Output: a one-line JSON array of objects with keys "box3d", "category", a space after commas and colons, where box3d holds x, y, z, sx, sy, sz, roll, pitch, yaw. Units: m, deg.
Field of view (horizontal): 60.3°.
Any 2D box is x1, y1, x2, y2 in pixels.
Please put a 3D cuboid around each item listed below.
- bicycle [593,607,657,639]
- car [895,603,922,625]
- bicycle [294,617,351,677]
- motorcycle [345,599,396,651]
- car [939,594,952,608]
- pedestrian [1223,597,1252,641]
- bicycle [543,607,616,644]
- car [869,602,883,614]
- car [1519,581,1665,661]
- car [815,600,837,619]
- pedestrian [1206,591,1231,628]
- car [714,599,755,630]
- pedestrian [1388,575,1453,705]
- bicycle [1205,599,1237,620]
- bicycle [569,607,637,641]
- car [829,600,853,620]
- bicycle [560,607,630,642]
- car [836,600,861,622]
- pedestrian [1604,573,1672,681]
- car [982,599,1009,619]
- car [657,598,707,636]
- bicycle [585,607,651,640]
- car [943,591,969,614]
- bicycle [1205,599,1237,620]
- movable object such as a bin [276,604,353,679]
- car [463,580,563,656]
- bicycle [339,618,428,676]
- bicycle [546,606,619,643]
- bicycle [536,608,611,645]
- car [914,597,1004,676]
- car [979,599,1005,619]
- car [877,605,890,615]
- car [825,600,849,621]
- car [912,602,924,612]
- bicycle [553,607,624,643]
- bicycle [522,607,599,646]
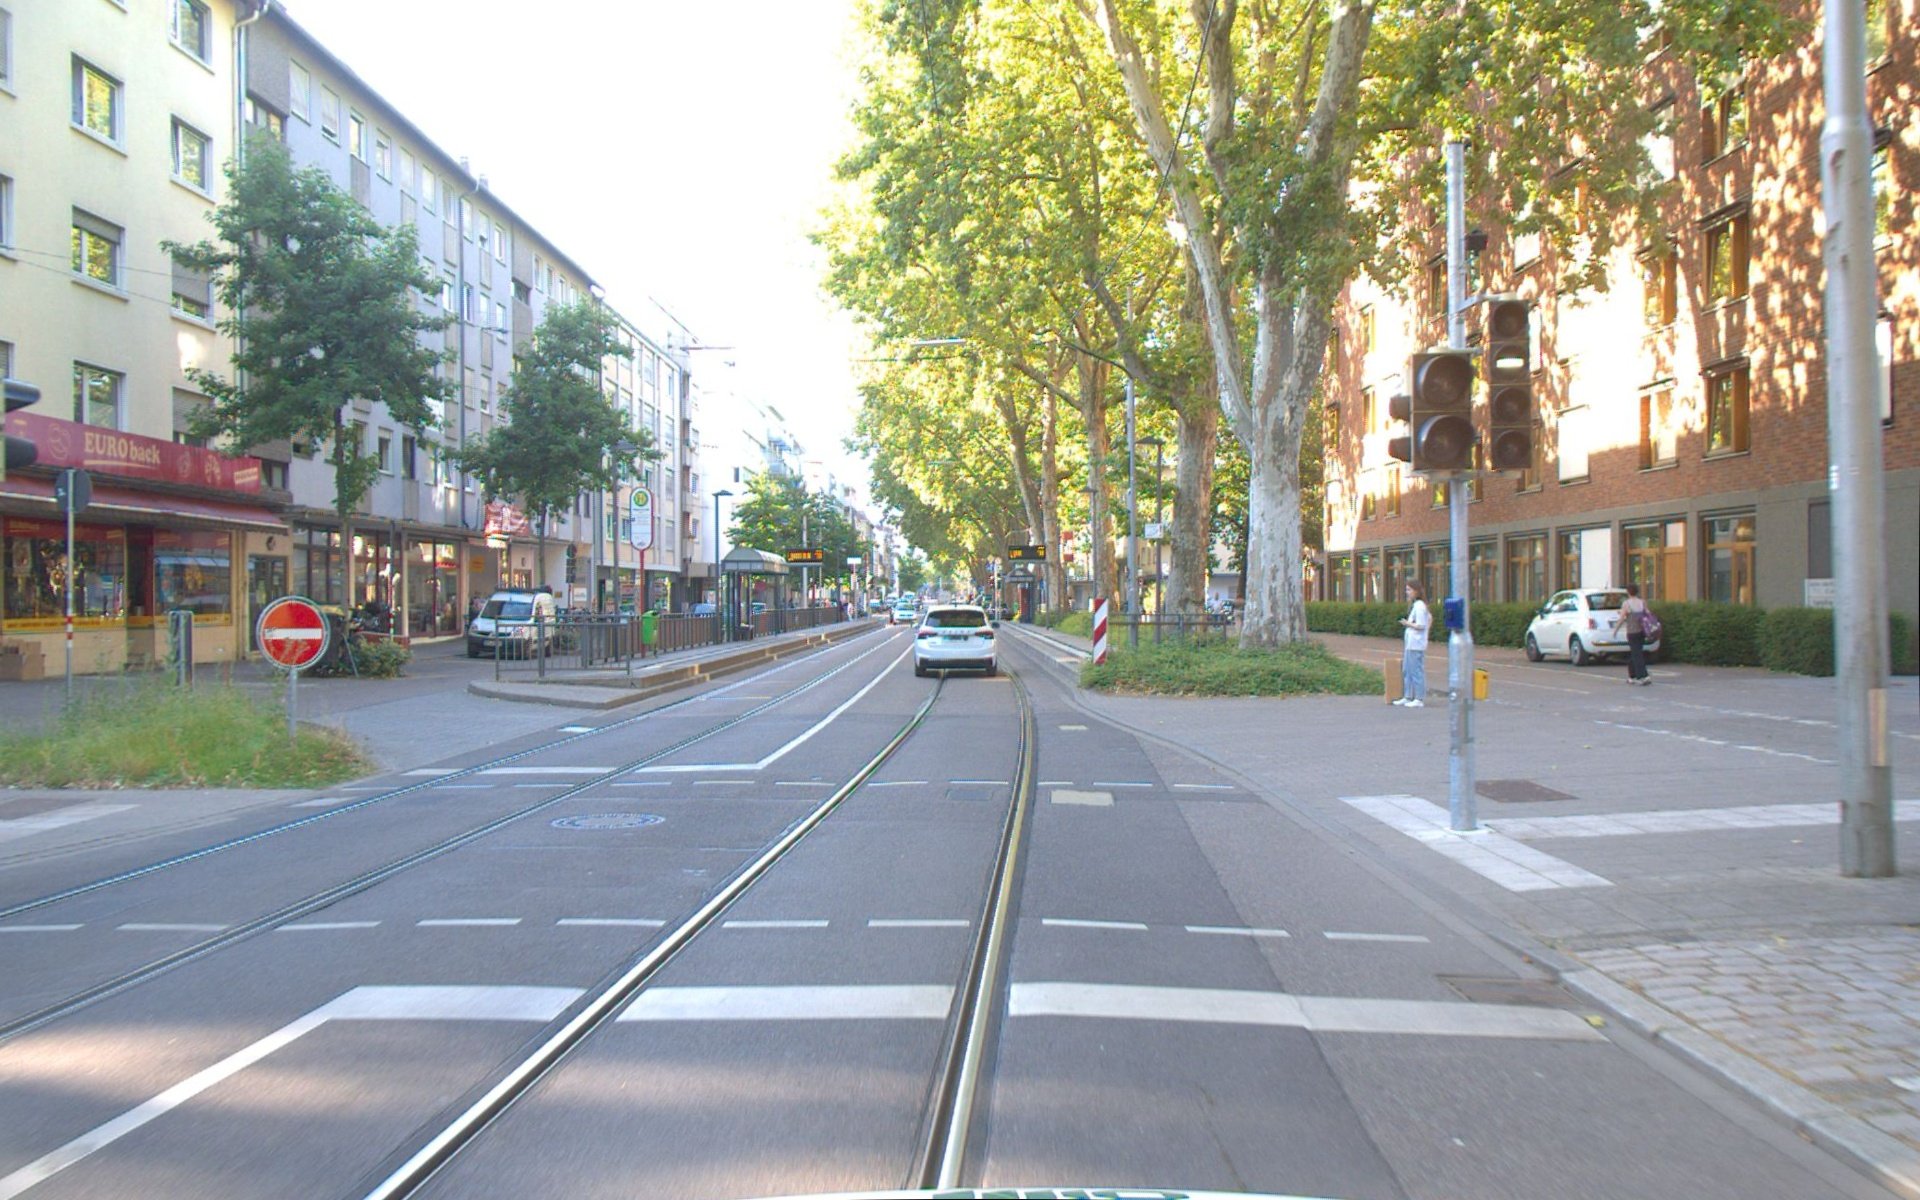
[{"box3d": [-12.514, 0.849, 61.877, 2.206, 1.093, 0.636, 3, 0, 1], "category": "bicycle"}, {"box3d": [-3.486, 0.919, 112.285, 1.659, 1.444, 4.000, -1, 0, 0], "category": "car"}, {"box3d": [-12.922, 0.937, 33.563, 0.488, 1.127, 1.799, 3, 0, -3], "category": "bicycle"}, {"box3d": [-15.776, 0.656, 44.312, 0.586, 1.334, 2.222, -1, 0, 0], "category": "motorcycle"}, {"box3d": [-2.064, 0.120, 234.146, 1.828, 1.925, 4.000, -1, 0, 0], "category": "car"}, {"box3d": [10.613, 0.712, 63.297, 0.952, 1.652, 0.887, -1, 0, -1], "category": "pedestrian"}, {"box3d": [-12.472, 0.836, 54.236, 2.206, 1.093, 0.636, 3, 0, 1], "category": "bicycle"}, {"box3d": [-11.221, 1.063, 220.766, 1.752, 1.540, 4.000, -1, 0, 0], "category": "car"}, {"box3d": [12.772, 0.410, 33.635, 1.568, 1.521, 3.416, -1, 0, -2], "category": "car"}, {"box3d": [-11.667, 0.828, 144.203, 1.643, 1.575, 4.000, 2, 0, 0], "category": "car"}, {"box3d": [11.718, 0.420, 74.986, 0.952, 1.652, 0.887, -1, 0, -1], "category": "pedestrian"}, {"box3d": [-12.279, 0.778, 90.244, 1.643, 1.575, 4.000, 2, 0, 0], "category": "car"}, {"box3d": [6.150, 0.525, 22.119, 0.639, 1.698, 0.738, -1, 0, -1], "category": "pedestrian"}, {"box3d": [13.222, 0.497, 83.784, 1.534, 1.055, 0.479, -1, 0, 21], "category": "bicycle"}, {"box3d": [-12.606, 0.833, 58.474, 2.206, 1.093, 0.636, 3, 0, 1], "category": "bicycle"}, {"box3d": [-9.814, 0.807, 136.464, 1.643, 1.575, 4.000, 2, 0, 0], "category": "car"}, {"box3d": [-12.519, 0.827, 56.729, 2.206, 1.093, 0.636, 3, 0, 1], "category": "bicycle"}, {"box3d": [-8.386, 0.836, 124.731, 1.643, 1.575, 4.000, 2, 0, 0], "category": "car"}, {"box3d": [10.933, 0.424, 26.691, 0.720, 1.698, 0.834, -1, 0, -1], "category": "pedestrian"}, {"box3d": [2.730, 0.703, 126.687, 1.953, 1.478, 4.000, -1, 0, 0], "category": "car"}, {"box3d": [-12.424, 0.741, 74.057, 1.560, 1.575, 4.000, 2, 0, 0], "category": "car"}, {"box3d": [-12.470, 0.848, 60.306, 2.206, 1.093, 0.636, 3, 0, 1], "category": "bicycle"}, {"box3d": [-0.261, 0.146, 113.258, 1.752, 1.540, 4.000, -1, 0, 0], "category": "car"}, {"box3d": [13.382, 0.497, 84.701, 1.534, 1.055, 0.504, -1, 0, 21], "category": "bicycle"}, {"box3d": [-12.551, 0.795, 32.166, 1.147, 1.372, 0.782, 3, 0, -5], "category": "movable object such as a bin"}, {"box3d": [-12.216, 0.468, 45.382, 1.653, 1.974, 4.000, -1, 0, 0], "category": "car"}, {"box3d": [-11.922, 0.965, 34.241, 1.502, 1.094, 0.885, 2, 0, -1], "category": "bicycle"}, {"box3d": [-12.509, 0.810, 54.826, 2.206, 1.093, 0.636, 3, 0, 1], "category": "bicycle"}, {"box3d": [-12.371, 0.846, 53.032, 2.206, 1.093, 0.636, 3, 0, 1], "category": "bicycle"}, {"box3d": [-0.031, 0.723, 34.767, 1.752, 1.540, 4.000, -1, 0, 0], "category": "car"}, {"box3d": [2.528, 0.710, 131.772, 1.953, 1.478, 4.000, -1, 0, 0], "category": "car"}, {"box3d": [-11.839, 1.553, 255.846, 1.752, 1.540, 4.000, -1, 0, 0], "category": "car"}, {"box3d": [-9.816, 0.802, 132.270, 1.643, 1.575, 4.000, 2, 0, 0], "category": "car"}, {"box3d": [-6.557, 1.032, 260.080, 1.752, 1.540, 4.000, -1, 0, 0], "category": "car"}, {"box3d": [-12.454, 0.829, 55.465, 2.206, 1.093, 0.636, 3, 0, 1], "category": "bicycle"}, {"box3d": [-12.409, 0.832, 51.384, 2.206, 1.093, 0.636, 3, 0, 1], "category": "bicycle"}]
